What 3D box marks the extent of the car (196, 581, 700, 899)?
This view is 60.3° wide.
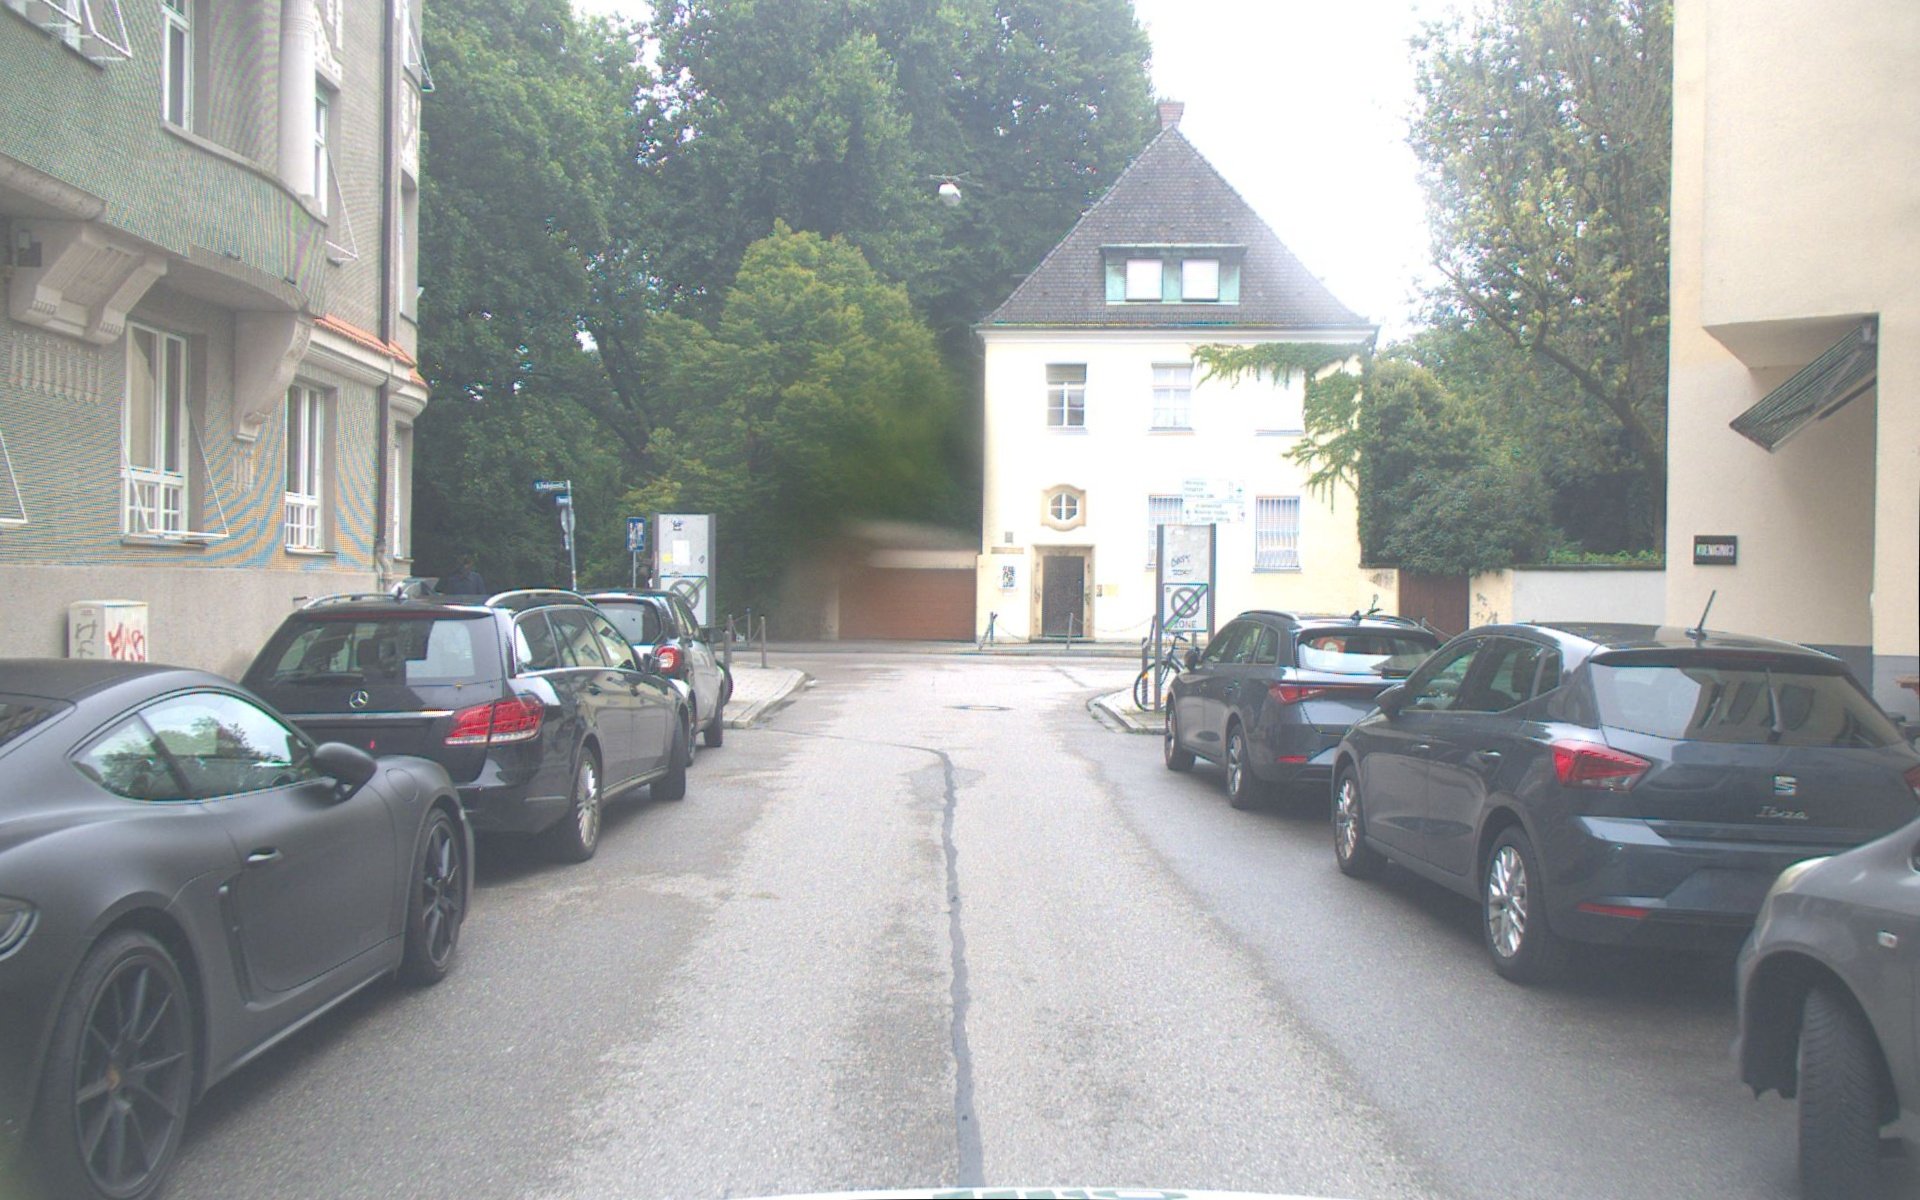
[{"bbox_3d":[-2.870,0.667,10.438,1.719,1.541,4.707,1,0,0],"label":"car"}]

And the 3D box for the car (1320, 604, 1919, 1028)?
[{"bbox_3d":[3.001,0.799,7.972,1.601,1.497,3.854,1,0,-1],"label":"car"}]

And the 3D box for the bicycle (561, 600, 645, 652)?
[{"bbox_3d":[-7.505,0.536,34.721,1.968,1.028,0.510,1,0,36],"label":"bicycle"}]

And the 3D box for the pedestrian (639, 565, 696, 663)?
[{"bbox_3d":[-5.056,0.242,28.599,0.800,1.670,0.721,1,0,-24],"label":"pedestrian"}]

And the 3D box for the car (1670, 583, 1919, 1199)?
[{"bbox_3d":[3.044,0.765,2.978,1.602,1.563,3.851,1,0,-5],"label":"car"}]

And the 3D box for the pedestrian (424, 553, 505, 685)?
[{"bbox_3d":[-7.029,0.262,23.510,0.821,1.818,0.936,1,0,1],"label":"pedestrian"}]

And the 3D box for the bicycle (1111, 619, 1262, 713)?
[{"bbox_3d":[2.850,0.813,20.820,1.756,1.104,0.665,0,1,26],"label":"bicycle"}]

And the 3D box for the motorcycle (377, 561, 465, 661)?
[{"bbox_3d":[-8.377,0.159,25.787,0.721,1.466,2.146,1,0,-3],"label":"motorcycle"}]

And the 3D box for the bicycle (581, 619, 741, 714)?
[{"bbox_3d":[-3.499,0.777,19.440,1.766,1.032,0.540,2,0,-3],"label":"bicycle"}]

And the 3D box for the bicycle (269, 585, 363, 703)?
[{"bbox_3d":[-7.835,0.513,20.184,0.606,1.373,1.673,1,0,-5],"label":"bicycle"}]

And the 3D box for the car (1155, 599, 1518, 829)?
[{"bbox_3d":[2.813,0.769,13.434,1.659,1.497,4.608,1,0,-3],"label":"car"}]

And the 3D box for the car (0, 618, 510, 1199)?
[{"bbox_3d":[-2.764,0.778,4.940,1.719,1.354,4.096,1,0,0],"label":"car"}]

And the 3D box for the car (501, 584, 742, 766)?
[{"bbox_3d":[-3.083,0.629,15.574,1.669,1.541,2.911,1,0,0],"label":"car"}]

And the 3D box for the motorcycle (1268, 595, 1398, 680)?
[{"bbox_3d":[6.246,0.630,27.698,2.051,1.379,0.811,1,0,-25],"label":"motorcycle"}]
